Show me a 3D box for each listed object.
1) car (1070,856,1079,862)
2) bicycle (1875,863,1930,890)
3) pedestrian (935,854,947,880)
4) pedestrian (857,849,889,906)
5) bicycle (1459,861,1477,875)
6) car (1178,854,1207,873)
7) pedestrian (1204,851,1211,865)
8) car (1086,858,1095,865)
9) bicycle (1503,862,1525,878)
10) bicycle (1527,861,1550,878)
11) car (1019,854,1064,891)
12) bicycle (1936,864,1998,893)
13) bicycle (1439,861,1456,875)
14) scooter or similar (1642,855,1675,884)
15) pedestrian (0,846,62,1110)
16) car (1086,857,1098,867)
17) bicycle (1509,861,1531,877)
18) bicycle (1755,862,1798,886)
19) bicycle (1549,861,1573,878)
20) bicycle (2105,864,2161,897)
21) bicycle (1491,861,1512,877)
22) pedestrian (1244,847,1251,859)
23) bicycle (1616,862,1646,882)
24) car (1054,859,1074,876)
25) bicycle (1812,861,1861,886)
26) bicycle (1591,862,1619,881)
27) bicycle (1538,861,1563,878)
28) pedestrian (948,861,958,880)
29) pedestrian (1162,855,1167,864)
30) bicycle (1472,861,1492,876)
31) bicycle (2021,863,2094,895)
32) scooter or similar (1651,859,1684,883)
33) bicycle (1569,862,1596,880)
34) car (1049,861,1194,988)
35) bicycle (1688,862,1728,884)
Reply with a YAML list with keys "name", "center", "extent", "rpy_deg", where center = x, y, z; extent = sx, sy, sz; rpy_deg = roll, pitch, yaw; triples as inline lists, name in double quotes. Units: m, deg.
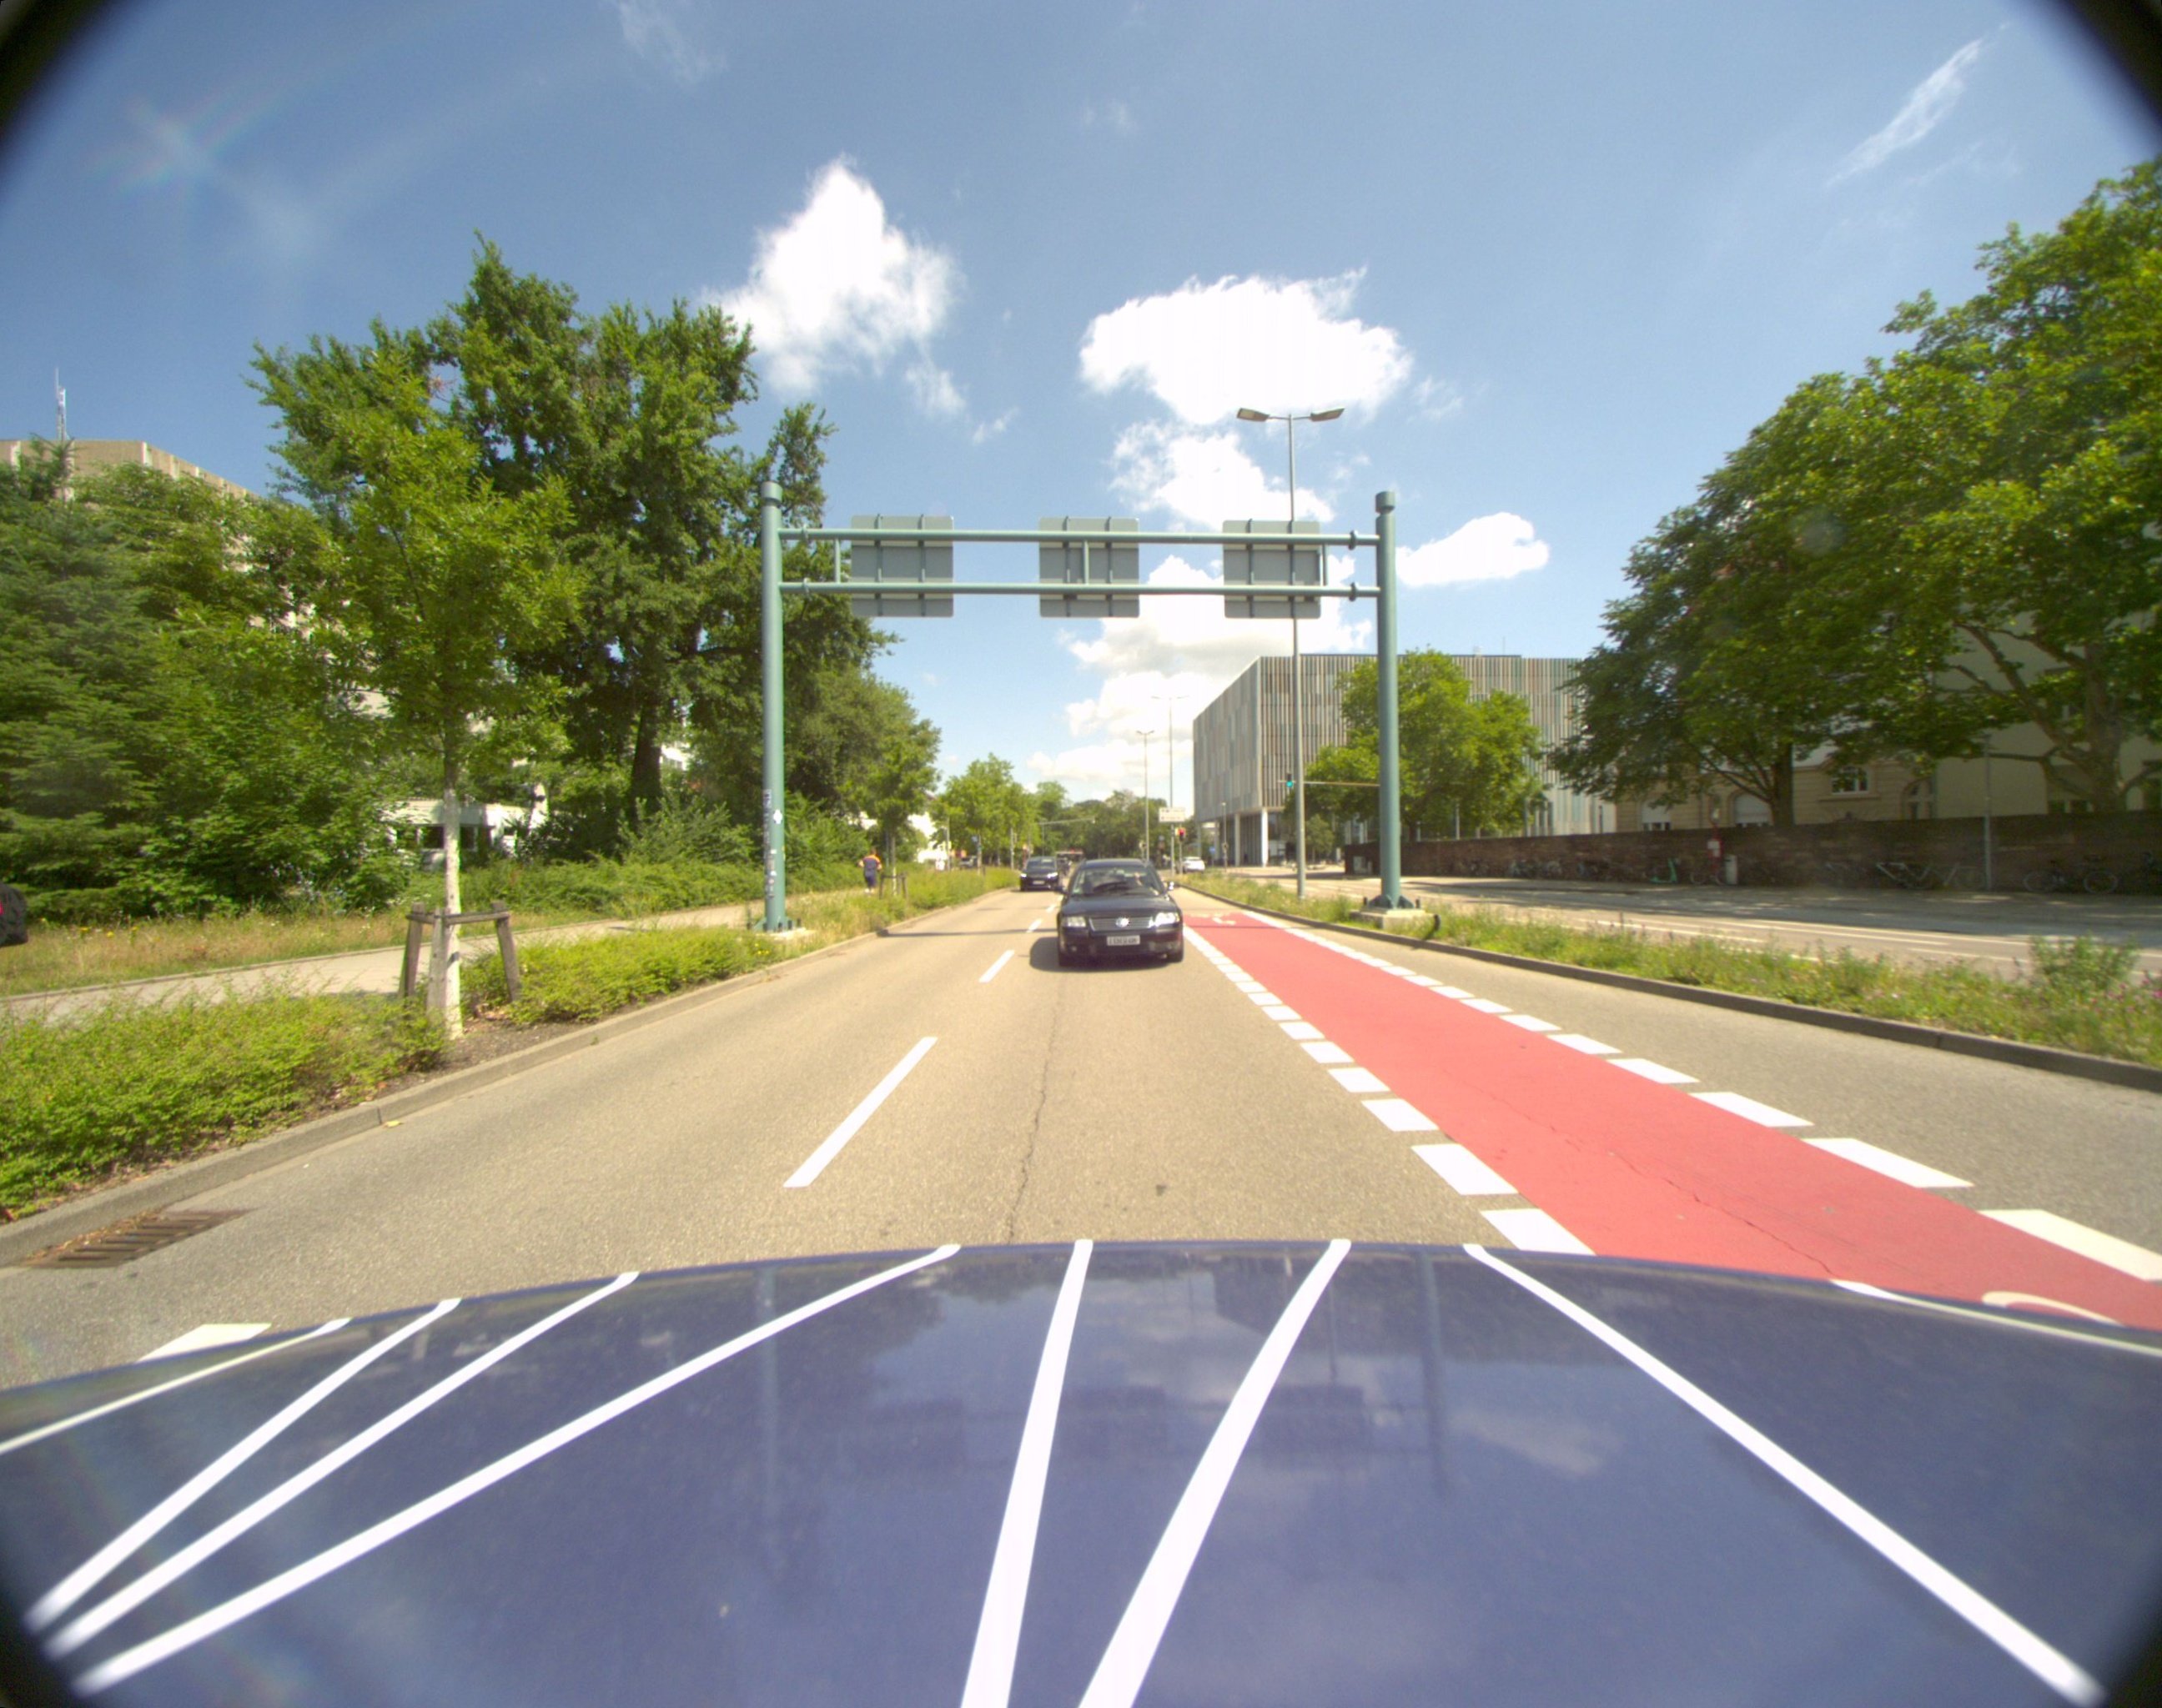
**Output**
- name: "car"
  center: [-1.397, 1.062, 168.911]
  extent: [1.806, 1.361, 4.157]
  rpy_deg: [-1, 1, 1]
- name: "bicycle"
  center: [25.984, 0.705, 24.044]
  extent: [0.265, 0.826, 1.235]
  rpy_deg: [-1, 0, -11]
- name: "pedestrian"
  center: [-11.124, 1.010, 60.359]
  extent: [0.846, 2.026, 0.900]
  rpy_deg: [-1, 0, -17]
- name: "pedestrian"
  center: [-6.482, 0.728, 23.688]
  extent: [0.639, 1.754, 0.887]
  rpy_deg: [-1, 0, 7]
- name: "bicycle"
  center: [22.805, 0.830, 44.777]
  extent: [0.265, 0.826, 1.235]
  rpy_deg: [-1, 0, -11]
- name: "car"
  center: [10.709, 0.894, 73.255]
  extent: [1.999, 1.701, 4.512]
  rpy_deg: [-1, 0, -1]
- name: "pedestrian"
  center: [18.360, 0.600, 110.271]
  extent: [0.864, 2.002, 0.995]
  rpy_deg: [-1, 0, -1]
- name: "car"
  center: [1.962, 1.461, 154.655]
  extent: [1.806, 1.361, 4.157]
  rpy_deg: [-1, 1, 1]
- name: "bicycle"
  center: [22.854, 0.814, 40.089]
  extent: [0.265, 0.826, 1.234]
  rpy_deg: [-1, 0, -11]
- name: "bicycle"
  center: [23.469, 0.794, 39.002]
  extent: [0.265, 0.826, 1.235]
  rpy_deg: [-1, 0, -11]
- name: "car"
  center: [-1.815, 0.850, 36.289]
  extent: [1.816, 1.598, 4.479]
  rpy_deg: [-3, 0, 1]
- name: "bicycle"
  center: [26.243, 0.726, 22.533]
  extent: [0.265, 0.826, 1.235]
  rpy_deg: [-1, 0, -11]
- name: "bicycle"
  center: [22.491, 0.850, 46.654]
  extent: [0.265, 0.826, 1.235]
  rpy_deg: [-1, 0, -11]
- name: "scooter or similar"
  center: [23.774, 0.629, 31.297]
  extent: [0.265, 1.182, 1.234]
  rpy_deg: [-1, 0, -11]
- name: "pedestrian"
  center: [-7.271, 0.794, 4.749]
  extent: [0.760, 1.674, 0.817]
  rpy_deg: [-1, 0, 12]
- name: "car"
  center: [1.802, 1.249, 123.380]
  extent: [1.723, 1.545, 4.594]
  rpy_deg: [-3, 0, 1]
- name: "bicycle"
  center: [23.360, 0.796, 40.412]
  extent: [0.265, 0.826, 1.234]
  rpy_deg: [-1, 0, -11]
- name: "bicycle"
  center: [25.189, 0.712, 27.525]
  extent: [0.265, 0.826, 1.235]
  rpy_deg: [-1, 0, -11]
- name: "bicycle"
  center: [23.664, 0.755, 37.473]
  extent: [0.265, 0.826, 1.235]
  rpy_deg: [-1, 0, -11]
- name: "bicycle"
  center: [27.128, 0.661, 19.351]
  extent: [0.265, 0.826, 1.234]
  rpy_deg: [-1, 0, -13]
- name: "bicycle"
  center: [23.154, 0.824, 41.807]
  extent: [0.265, 0.826, 1.234]
  rpy_deg: [-1, 0, -11]
- name: "pedestrian"
  center: [27.406, -0.202, 124.969]
  extent: [0.864, 2.002, 0.995]
  rpy_deg: [-1, 0, 0]
- name: "bicycle"
  center: [24.148, 0.777, 33.375]
  extent: [0.265, 0.826, 1.235]
  rpy_deg: [-1, 0, -11]
- name: "car"
  center: [-1.685, 1.341, 76.070]
  extent: [1.816, 1.598, 4.479]
  rpy_deg: [-3, 0, 1]
- name: "bicycle"
  center: [25.703, 0.640, 25.859]
  extent: [0.265, 0.826, 1.235]
  rpy_deg: [-1, 0, -11]
- name: "bicycle"
  center: [24.056, 0.788, 34.882]
  extent: [0.265, 0.826, 1.235]
  rpy_deg: [-1, 0, -11]
- name: "bicycle"
  center: [23.186, 0.756, 37.531]
  extent: [0.265, 0.826, 1.234]
  rpy_deg: [-1, 0, -11]
- name: "pedestrian"
  center: [-11.289, 1.451, 66.946]
  extent: [0.768, 1.601, 0.764]
  rpy_deg: [-1, 0, -12]
- name: "pedestrian"
  center: [15.779, 1.080, 143.543]
  extent: [0.864, 1.647, 0.995]
  rpy_deg: [-1, 0, -1]
- name: "bicycle"
  center: [22.929, 0.821, 43.434]
  extent: [0.265, 0.826, 1.234]
  rpy_deg: [-1, 0, -11]
- name: "bicycle"
  center: [26.628, 0.674, 20.742]
  extent: [0.265, 0.826, 1.234]
  rpy_deg: [-1, 0, -13]
- name: "scooter or similar"
  center: [24.576, 0.707, 31.855]
  extent: [0.266, 1.014, 1.140]
  rpy_deg: [-1, 0, -22]
- name: "bicycle"
  center: [23.881, 0.785, 36.181]
  extent: [0.265, 0.826, 1.235]
  rpy_deg: [-1, 0, -11]
- name: "car"
  center: [0.530, 0.892, 11.674]
  extent: [1.723, 1.472, 4.594]
  rpy_deg: [-3, 0, 1]
- name: "bicycle"
  center: [24.819, 0.745, 30.085]
  extent: [0.265, 0.826, 1.233]
  rpy_deg: [-1, 0, -21]
